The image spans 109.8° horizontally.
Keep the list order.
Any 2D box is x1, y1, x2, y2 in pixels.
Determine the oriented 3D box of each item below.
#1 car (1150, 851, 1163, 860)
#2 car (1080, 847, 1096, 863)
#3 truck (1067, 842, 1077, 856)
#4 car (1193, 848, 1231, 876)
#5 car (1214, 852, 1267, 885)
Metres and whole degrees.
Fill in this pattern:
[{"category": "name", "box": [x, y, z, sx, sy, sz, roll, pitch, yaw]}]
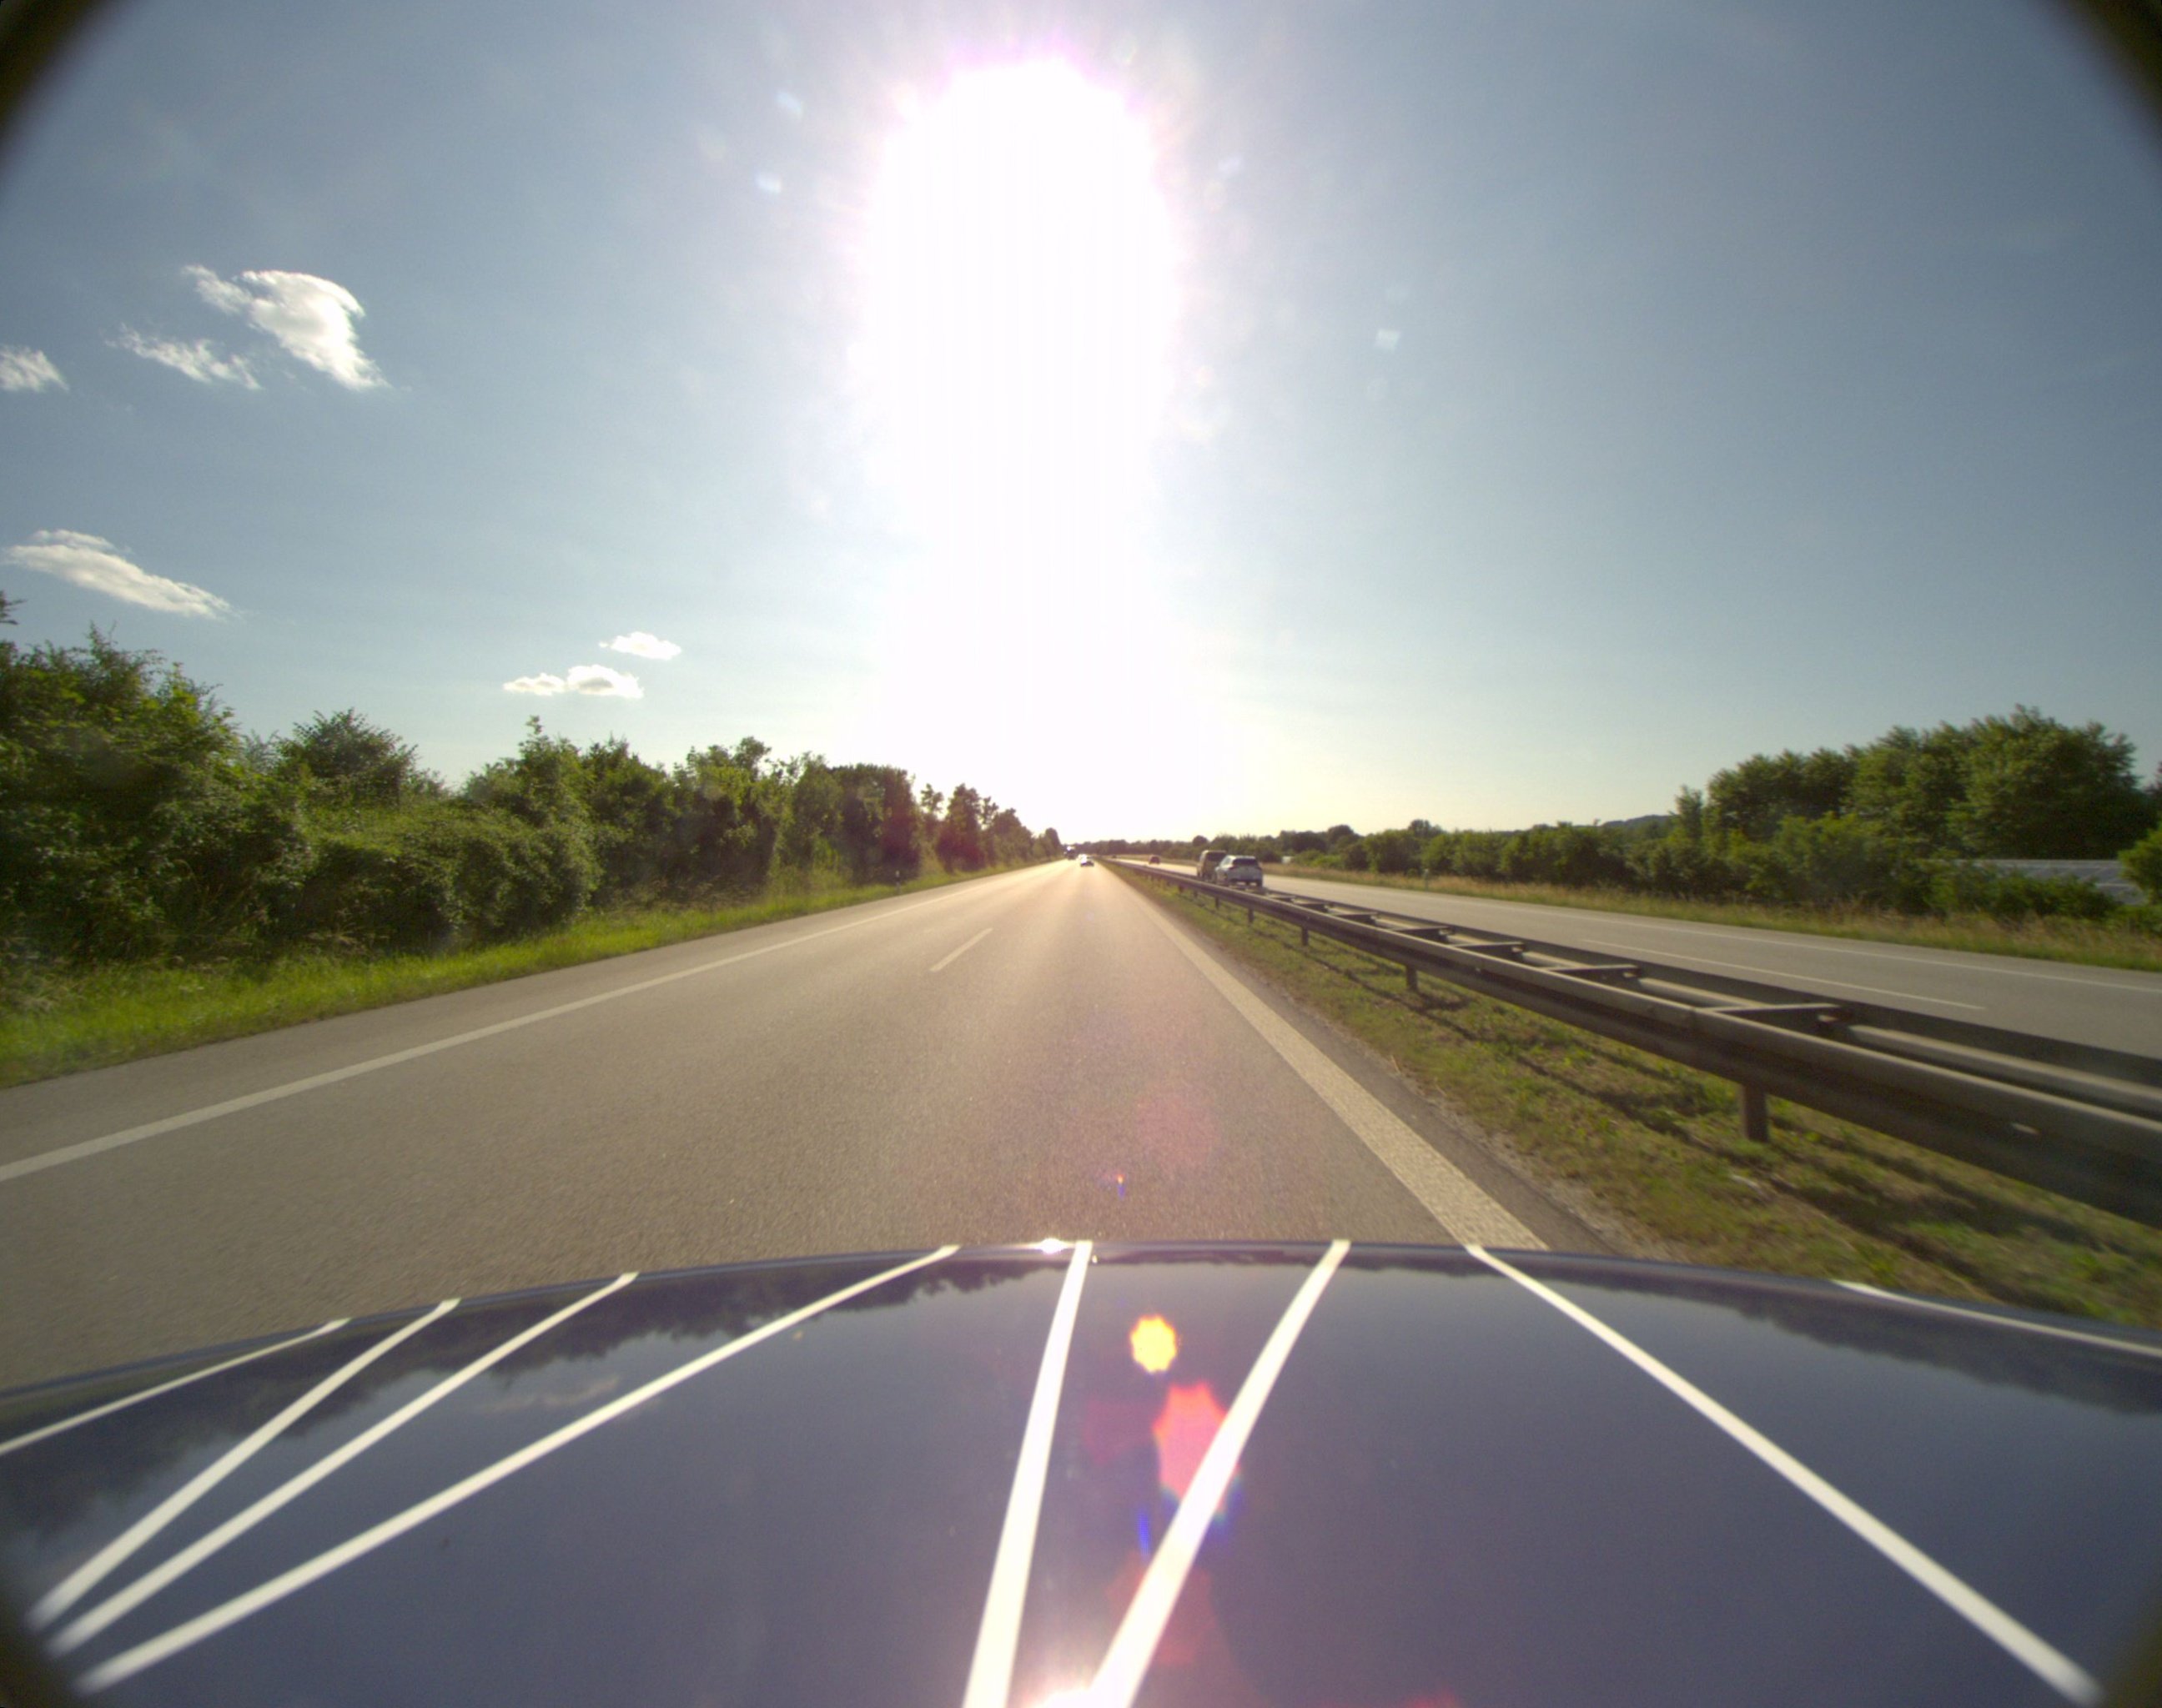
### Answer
[{"category": "car", "box": [12.445, 0.259, 125.512, 1.734, 1.502, 4.479, 1, 1, 2]}, {"category": "car", "box": [0.964, 0.133, 100.007, 1.998, 2.002, 4.358, -2, 1, 0]}, {"category": "truck", "box": [-2.619, -1.502, 233.922, 2.759, 4.242, 8.492, -2, 1, 0]}, {"category": "car", "box": [9.065, 0.513, 52.830, 1.954, 1.761, 4.749, 2, 1, 2]}, {"category": "car", "box": [7.719, 0.670, 37.118, 1.771, 1.412, 4.470, 3, 1, 2]}]
